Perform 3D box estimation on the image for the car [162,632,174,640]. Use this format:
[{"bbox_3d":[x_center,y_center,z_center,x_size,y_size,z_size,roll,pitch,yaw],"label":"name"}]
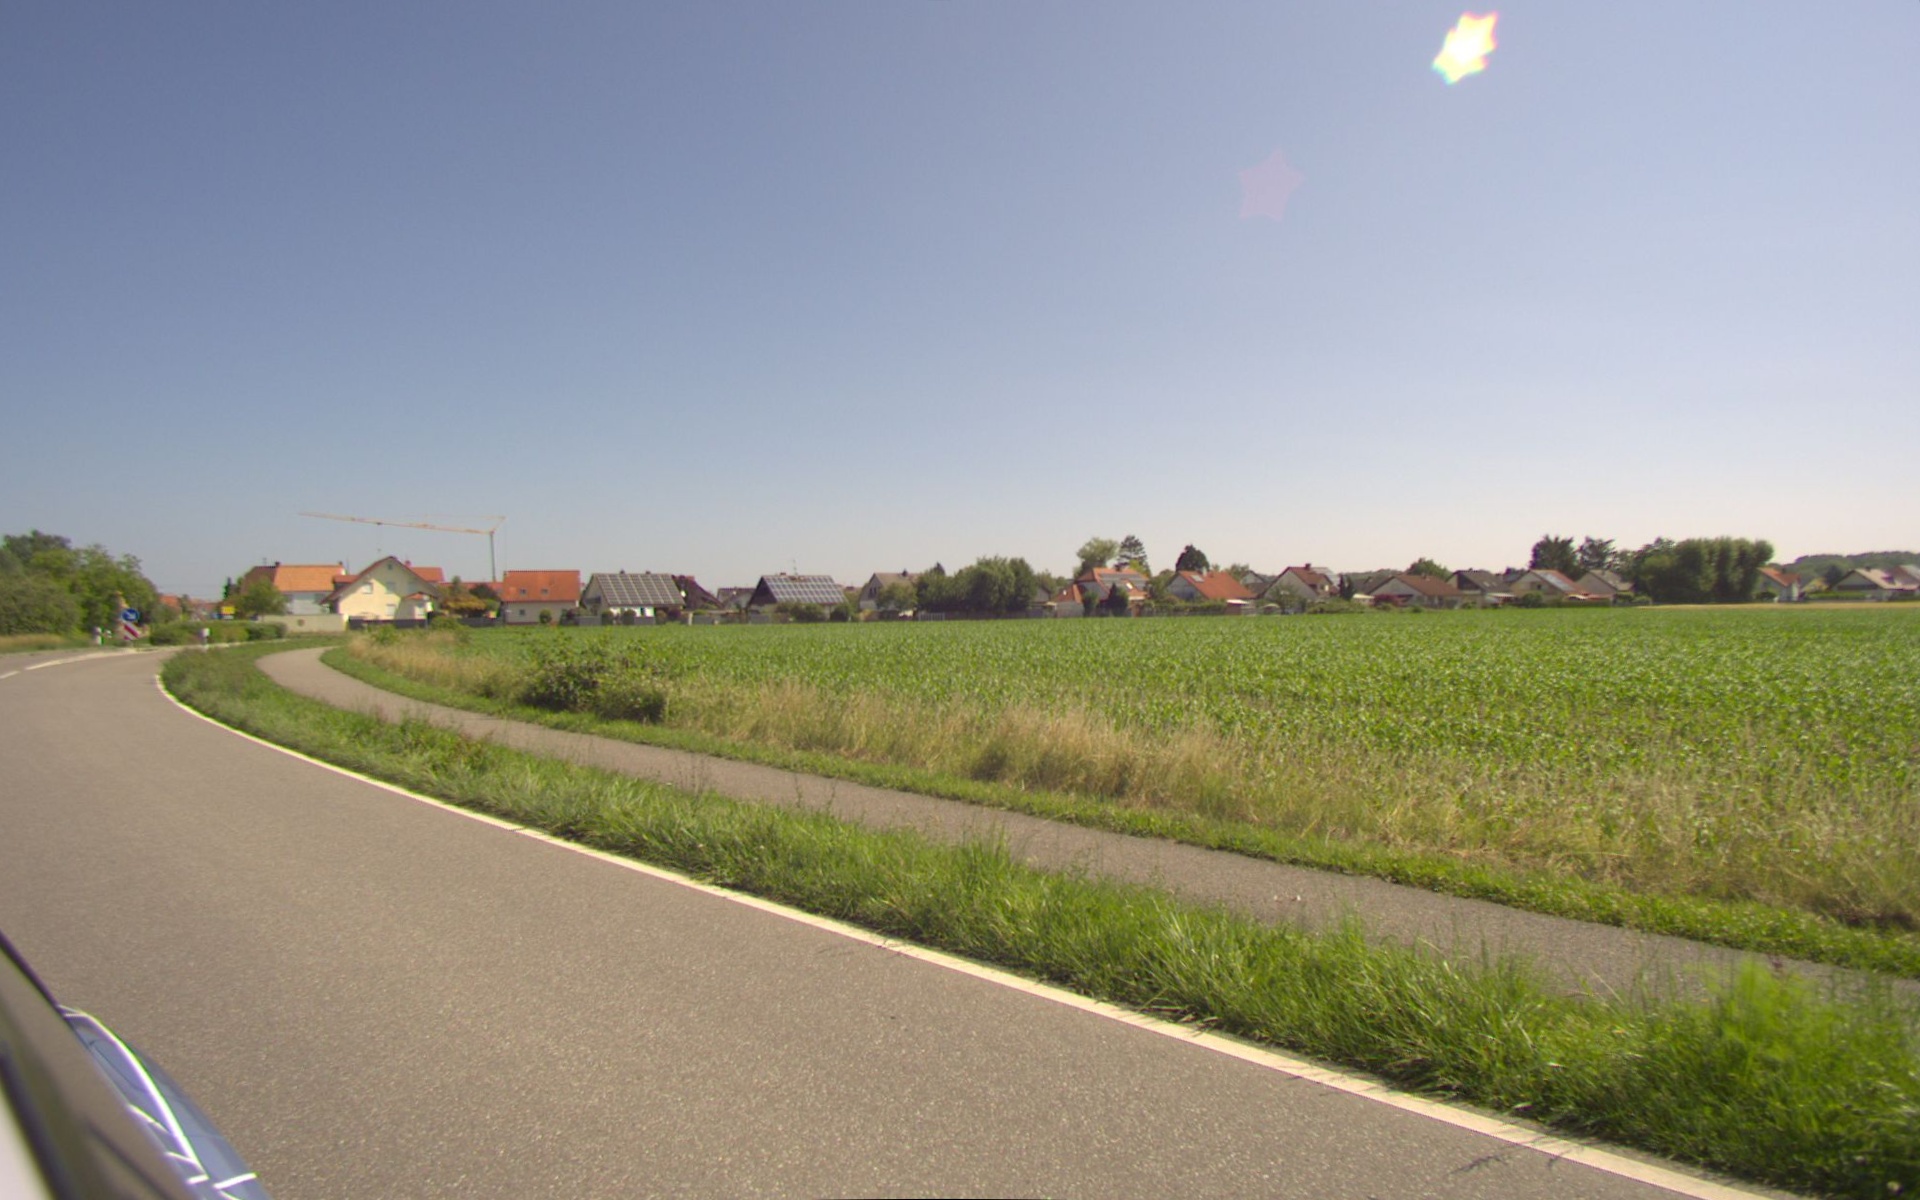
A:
[{"bbox_3d":[-156.265,7.075,199.642,1.706,1.398,3.540,0,-1,-36],"label":"car"}]
